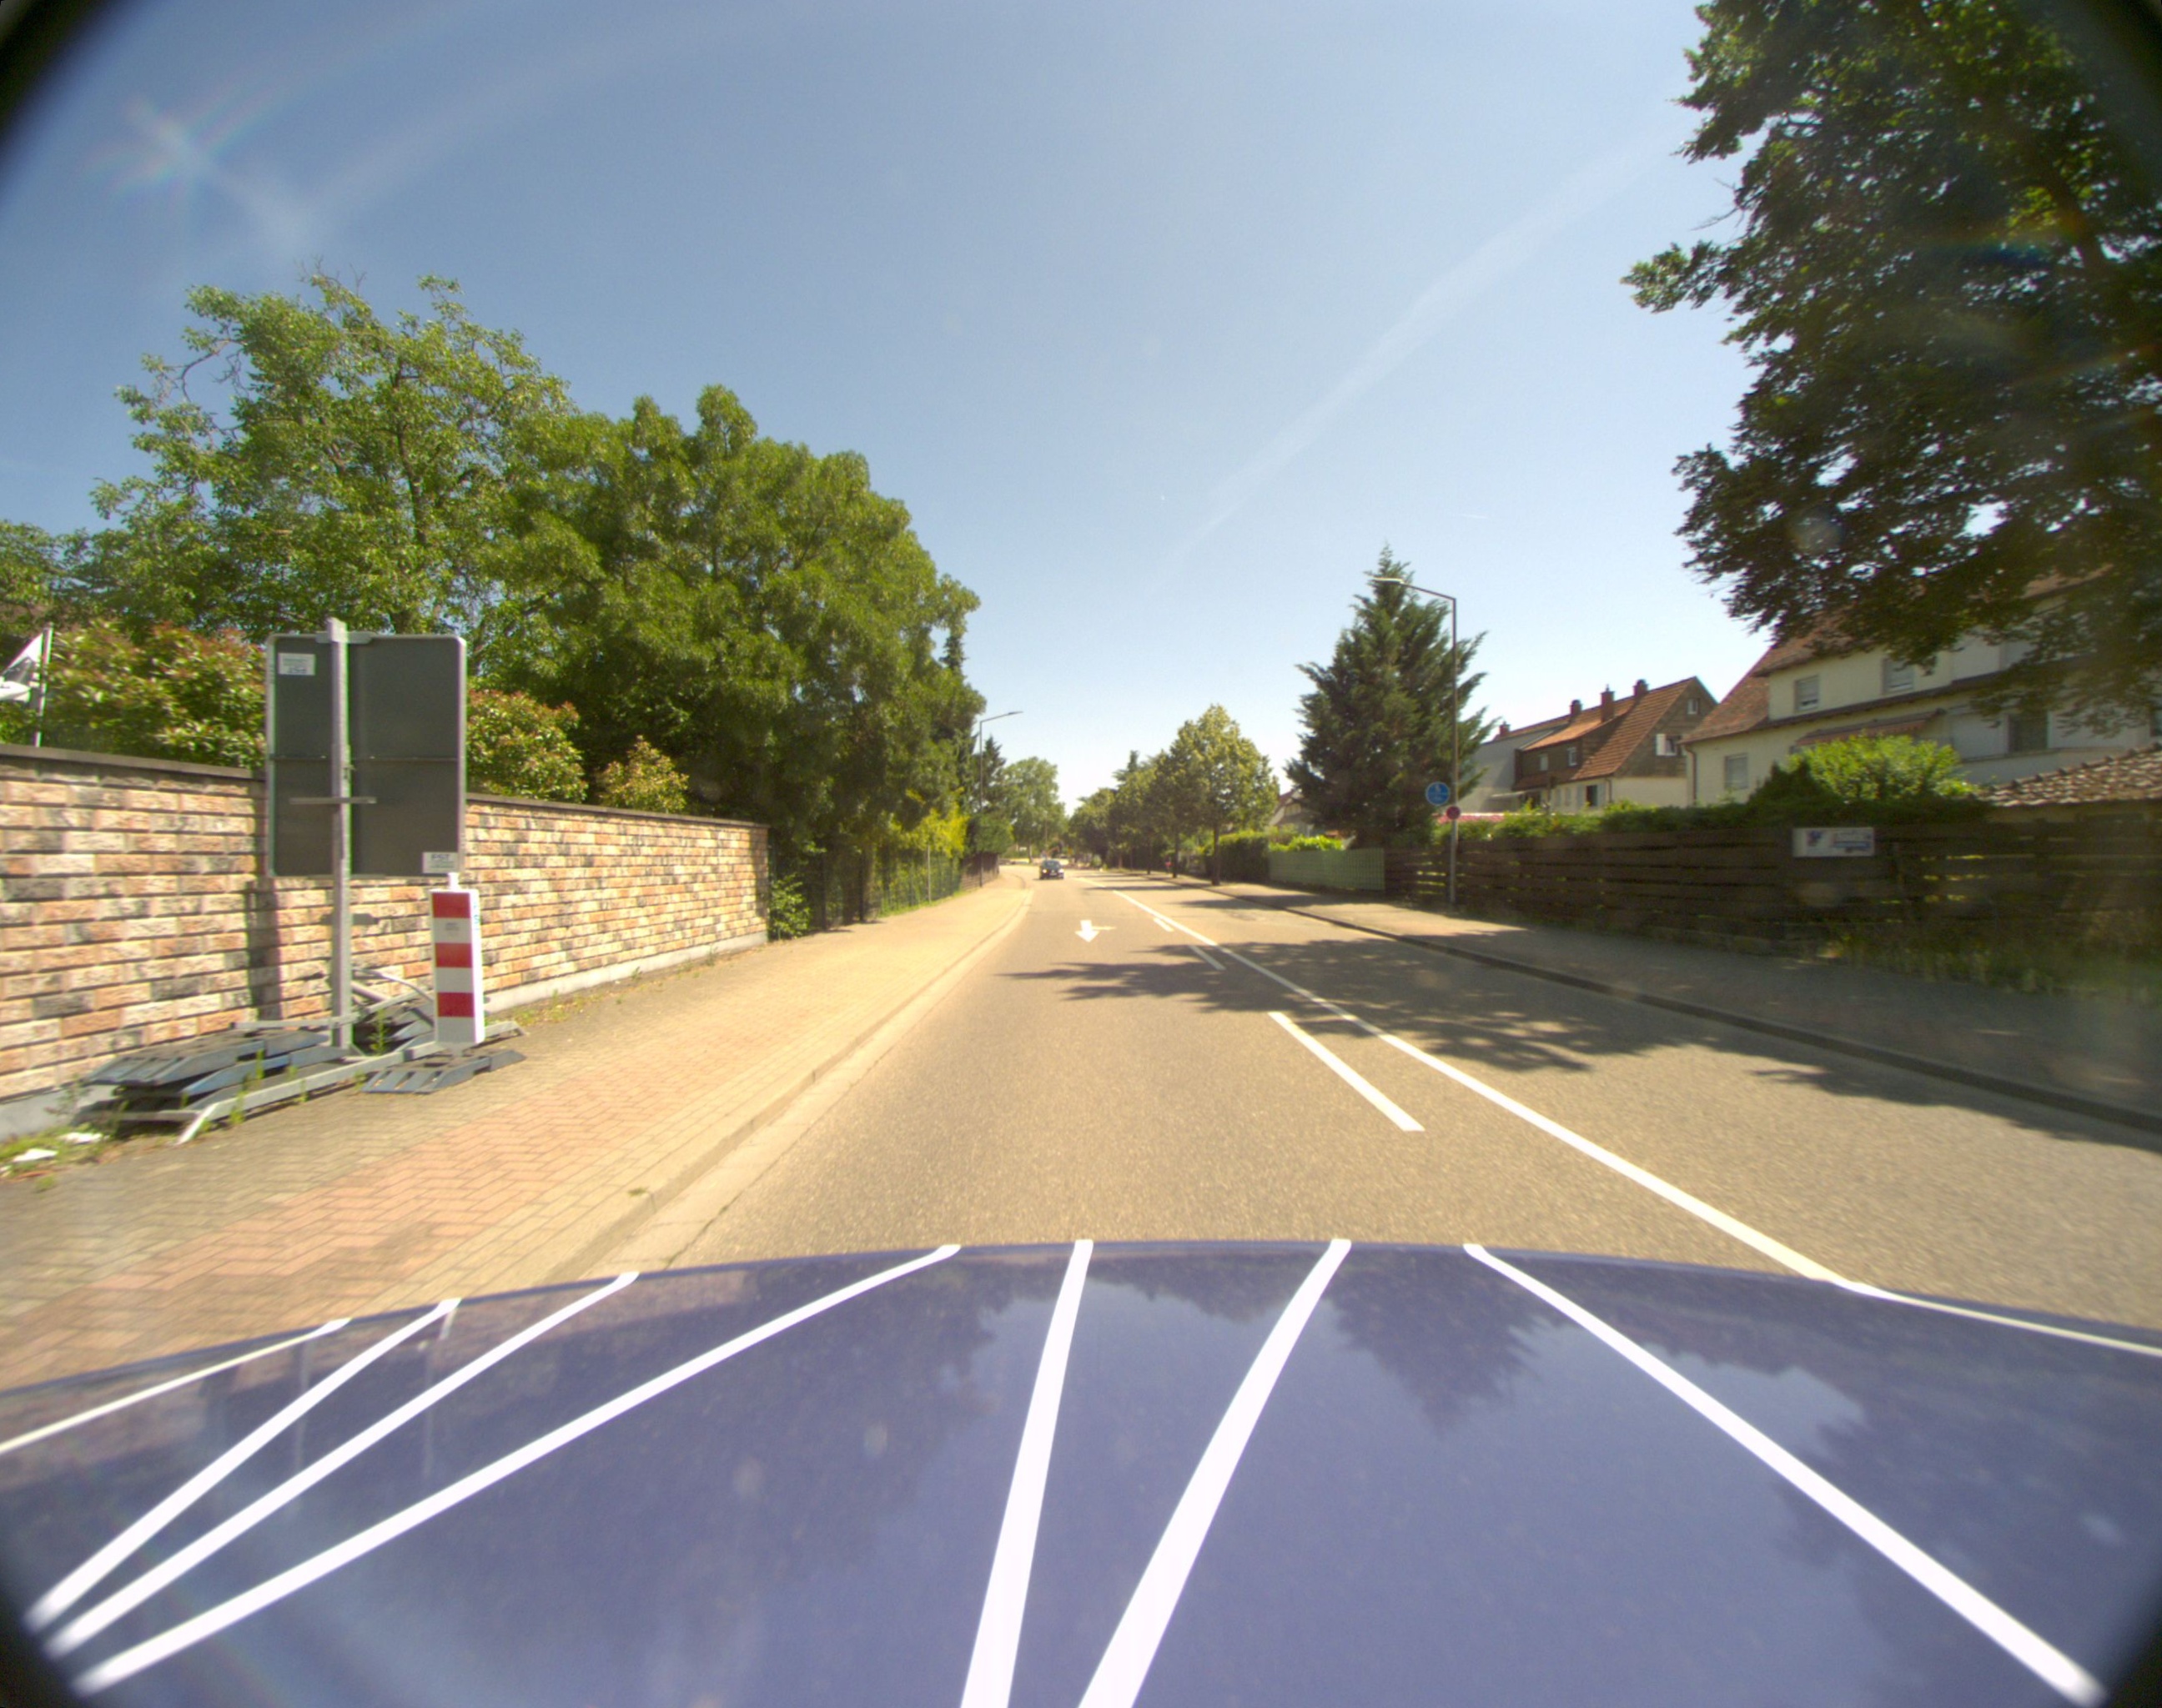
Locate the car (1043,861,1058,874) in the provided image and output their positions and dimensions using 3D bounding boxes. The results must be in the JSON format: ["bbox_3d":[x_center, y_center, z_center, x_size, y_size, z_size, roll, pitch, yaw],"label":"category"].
[{"bbox_3d":[-3.614,1.629,90.534,1.616,1.474,3.706,0,0,-4],"label":"car"}]

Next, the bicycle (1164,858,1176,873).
[{"bbox_3d":[7.155,0.887,60.879,0.634,1.173,1.815,0,0,-4],"label":"bicycle"}]

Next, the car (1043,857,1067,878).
[{"bbox_3d":[-2.018,1.008,57.797,1.608,1.436,3.907,-1,0,-5],"label":"car"}]

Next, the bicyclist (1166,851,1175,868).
[{"bbox_3d":[7.155,0.450,60.907,0.630,1.400,0.676,0,0,-4],"label":"bicyclist"}]
